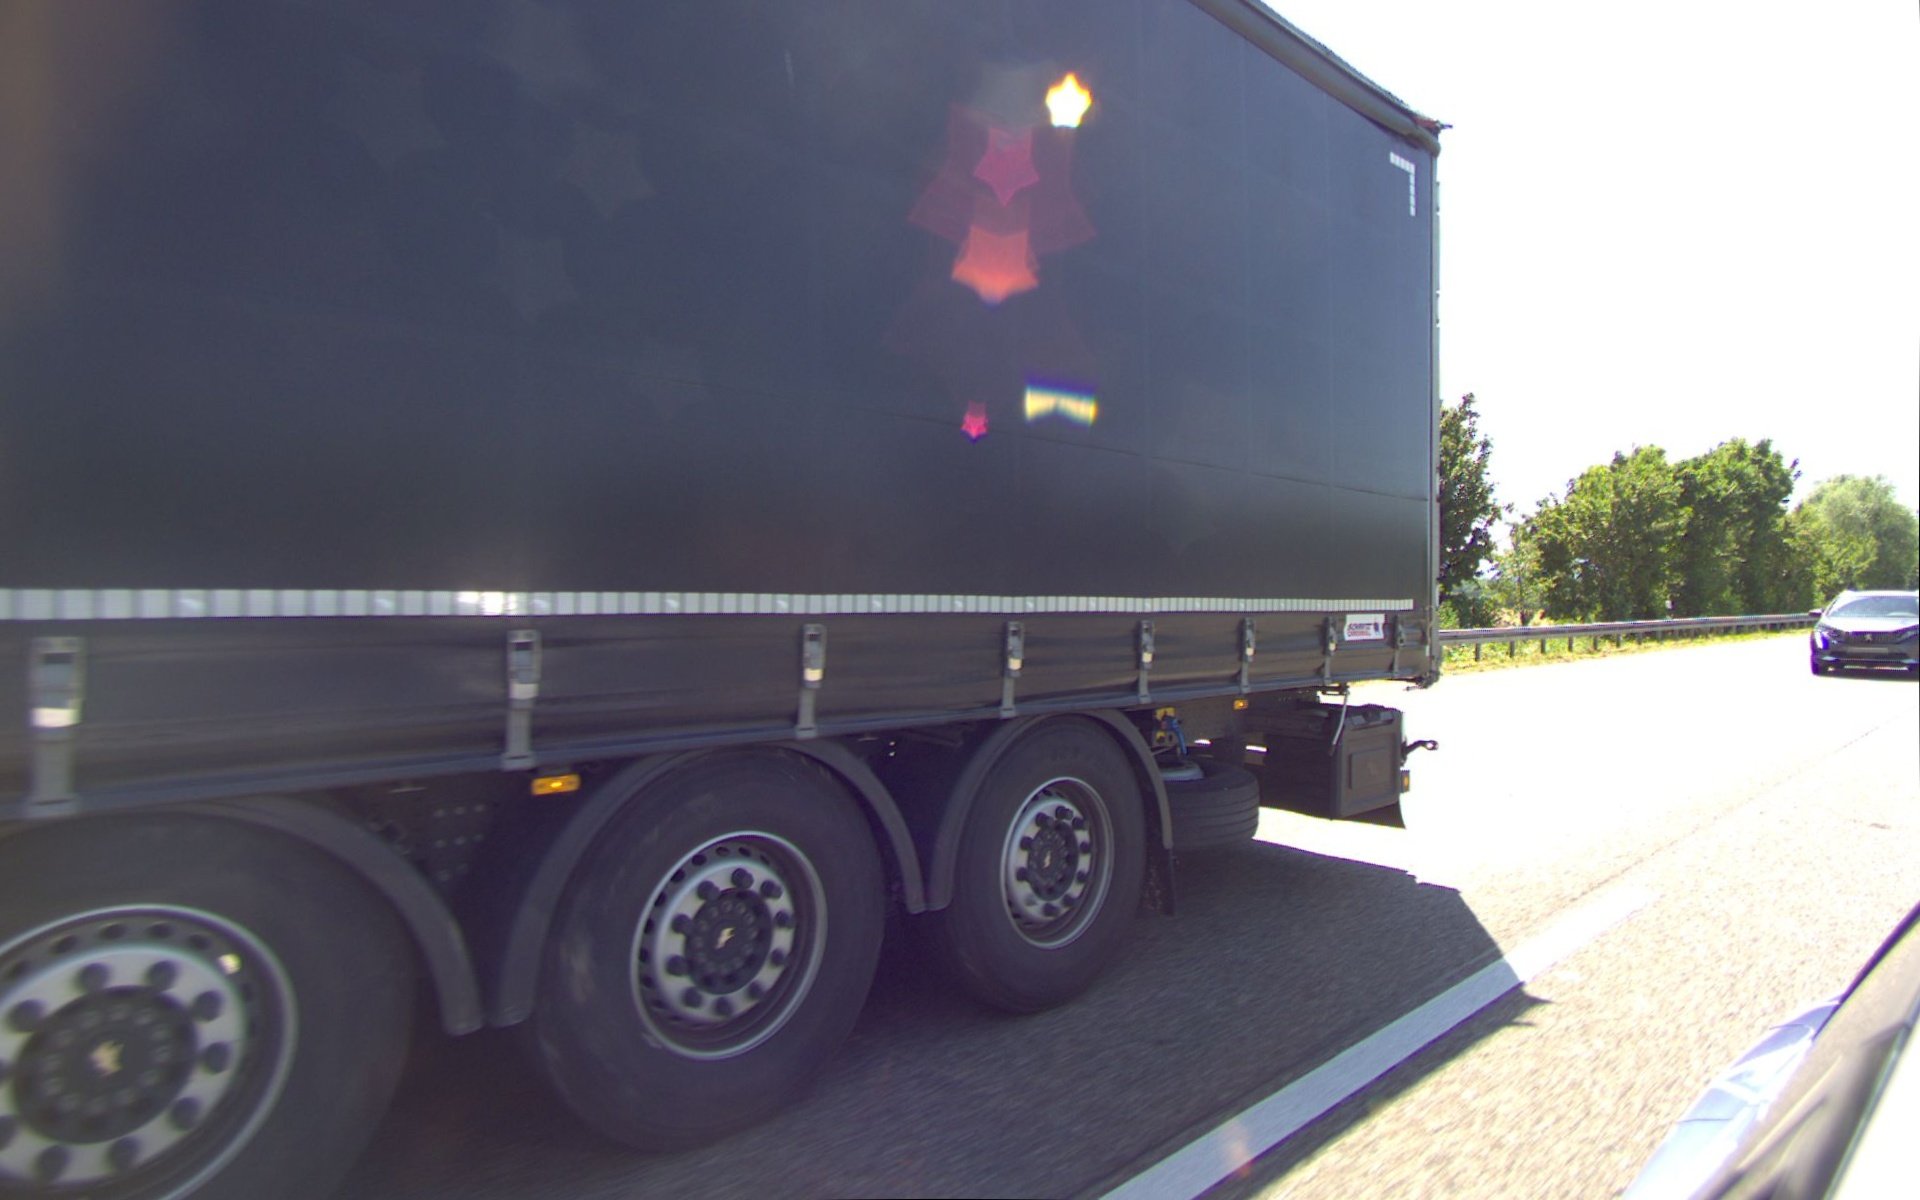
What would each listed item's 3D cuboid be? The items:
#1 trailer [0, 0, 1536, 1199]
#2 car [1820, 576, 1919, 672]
[{"bbox_3d":[-2.515,-0.615,2.435,13.302,4.004,2.557,0,1,-41],"label":"trailer"},{"bbox_3d":[18.401,0.406,19.827,3.930,1.727,1.795,0,1,-41],"label":"car"}]
